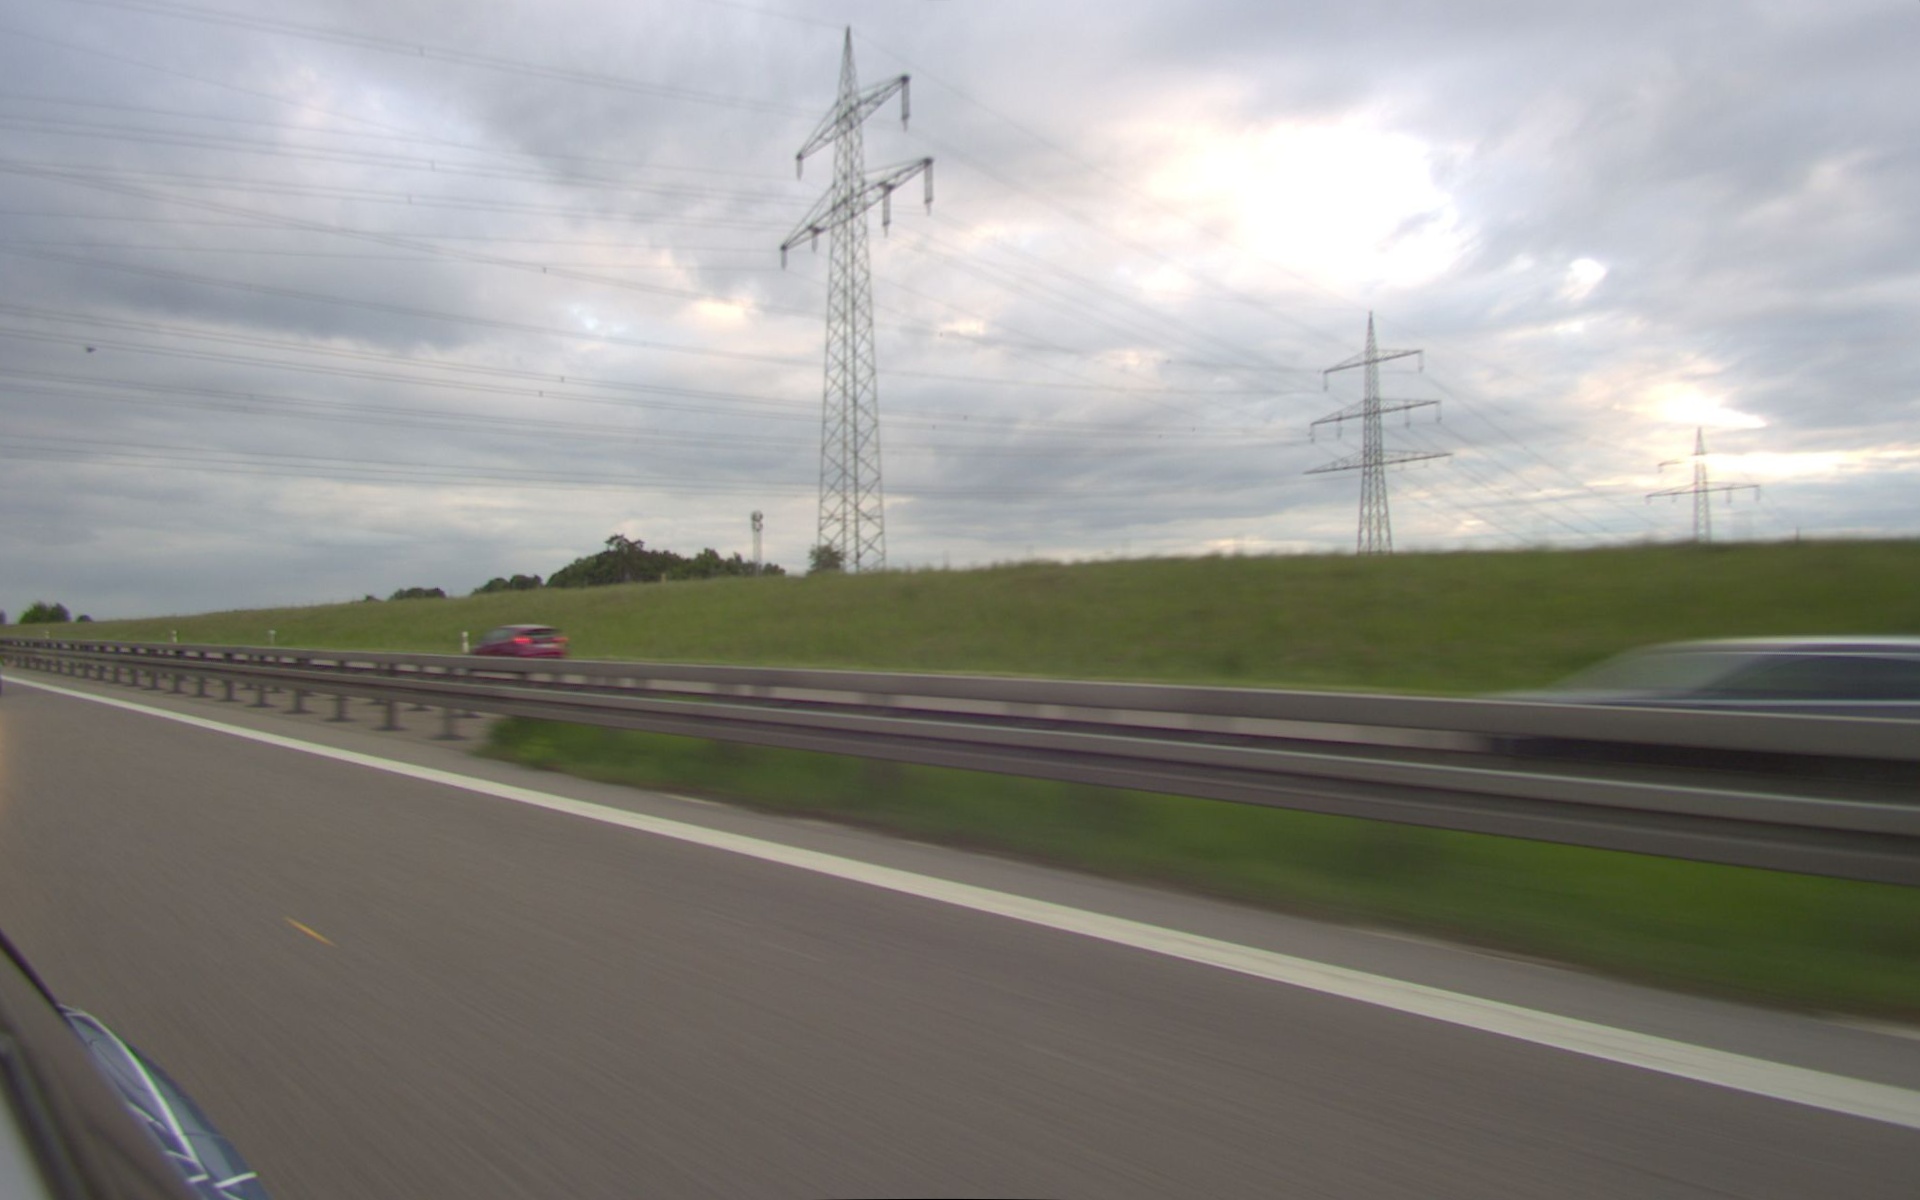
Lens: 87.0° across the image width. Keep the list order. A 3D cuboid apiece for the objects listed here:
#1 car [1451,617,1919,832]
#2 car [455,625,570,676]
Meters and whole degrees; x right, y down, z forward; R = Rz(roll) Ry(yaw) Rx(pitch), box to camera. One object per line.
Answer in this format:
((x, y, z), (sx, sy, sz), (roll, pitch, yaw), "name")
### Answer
((6.949, 0.904, 8.130), (5.118, 1.467, 1.720), (-2, -1, 41), "car")
((-14.244, 1.569, 32.098), (4.430, 1.444, 1.512), (-2, -1, 40), "car")
